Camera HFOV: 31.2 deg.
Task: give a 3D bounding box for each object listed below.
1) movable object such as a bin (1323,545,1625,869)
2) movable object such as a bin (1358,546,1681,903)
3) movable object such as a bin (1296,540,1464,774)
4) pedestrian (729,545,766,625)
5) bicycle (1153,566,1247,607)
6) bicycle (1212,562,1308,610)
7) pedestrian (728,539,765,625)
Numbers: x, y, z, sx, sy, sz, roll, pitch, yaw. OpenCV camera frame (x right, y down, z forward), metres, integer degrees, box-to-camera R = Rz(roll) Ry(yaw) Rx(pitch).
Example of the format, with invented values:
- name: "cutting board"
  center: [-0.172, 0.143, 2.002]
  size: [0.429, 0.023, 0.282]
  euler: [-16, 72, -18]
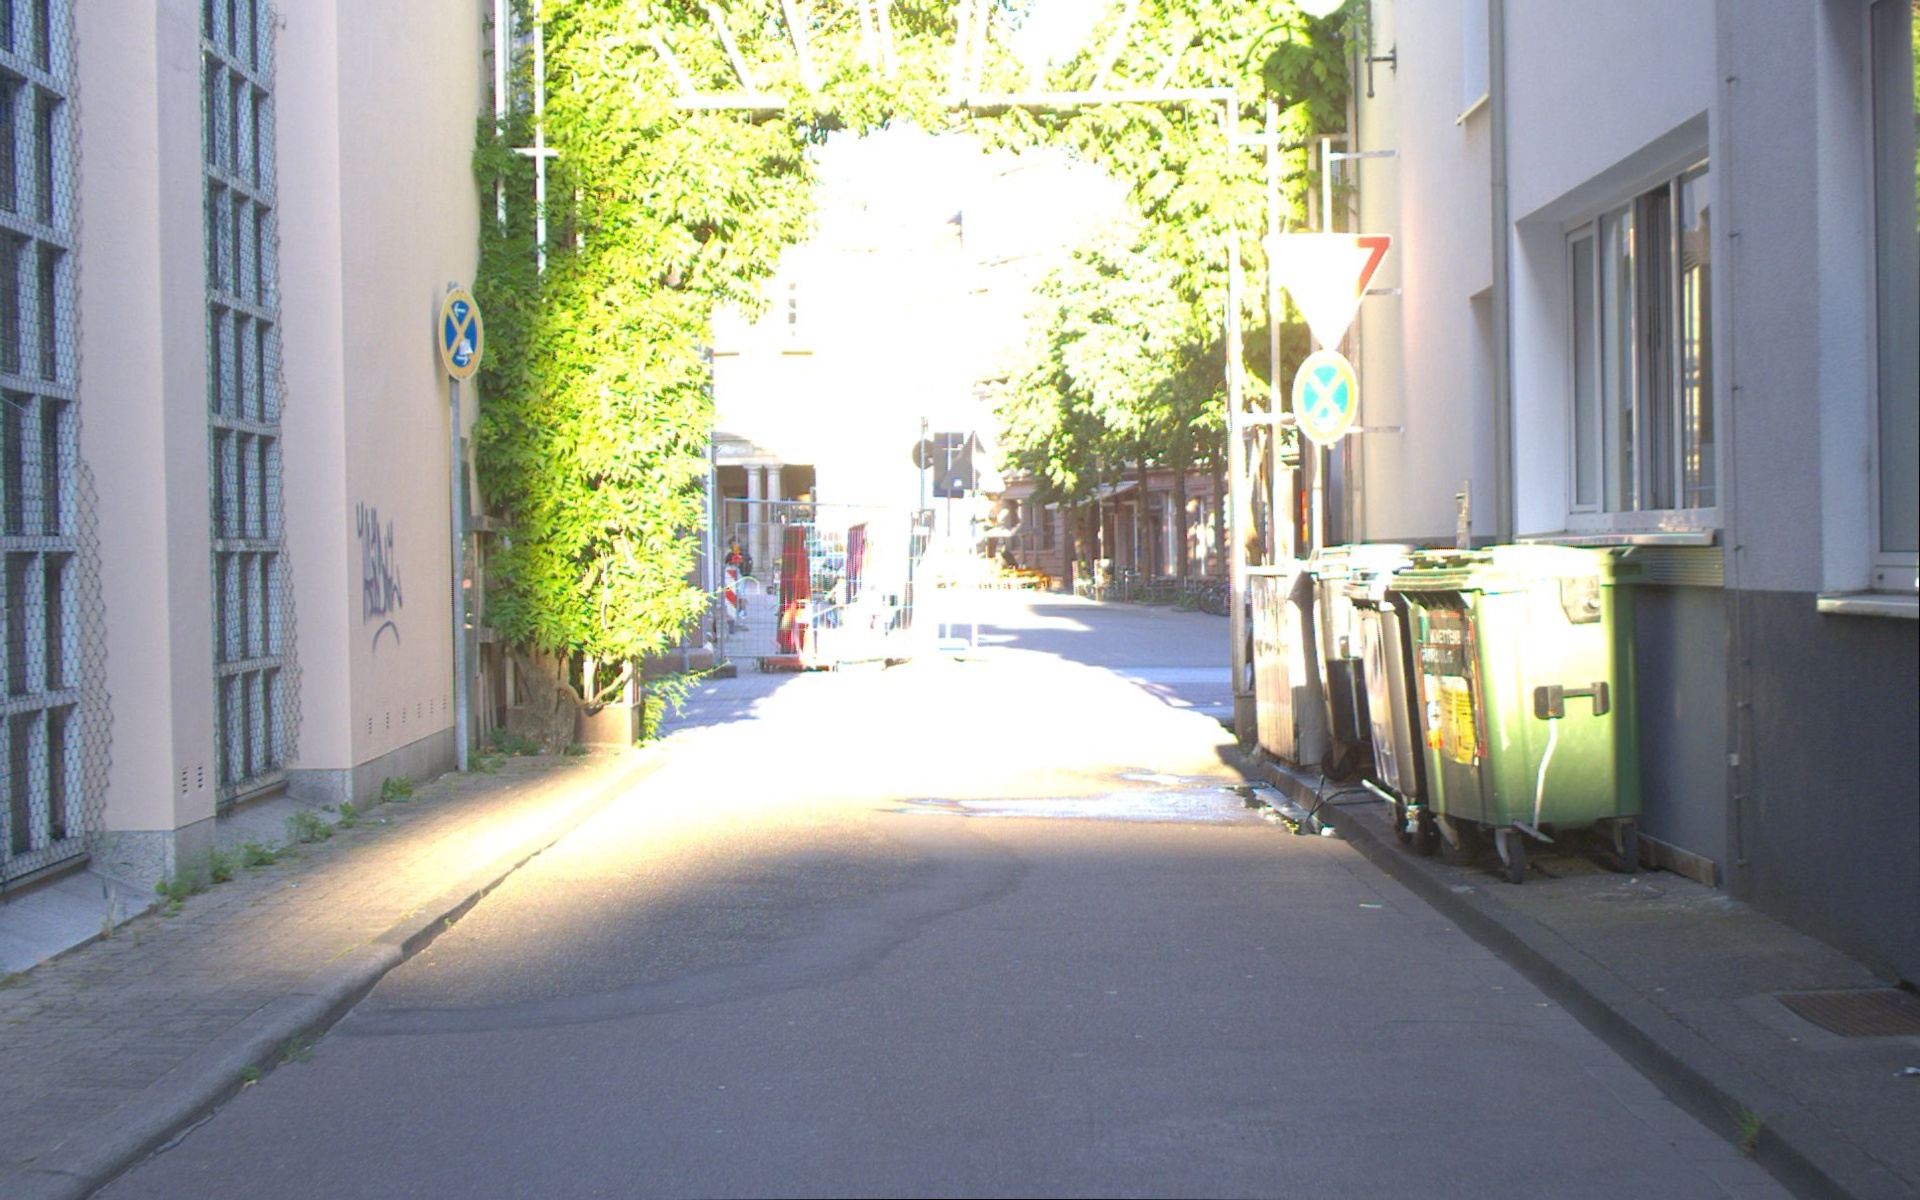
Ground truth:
- name: "movable object such as a bin"
  center: [2.324, 0.459, 15.738]
  size: [1.064, 1.362, 1.342]
  euler: [-3, 1, -2]
- name: "movable object such as a bin"
  center: [2.303, 0.486, 14.333]
  size: [0.937, 1.362, 1.342]
  euler: [-3, 1, -6]
- name: "movable object such as a bin"
  center: [2.476, 0.315, 20.387]
  size: [0.836, 1.300, 1.290]
  euler: [-3, 1, 3]
- name: "pedestrian"
  center: [-4.409, -0.311, 71.512]
  size: [0.654, 1.646, 0.634]
  euler: [-1, 0, 3]
- name: "bicycle"
  center: [5.820, -0.327, 83.397]
  size: [2.152, 0.922, 0.591]
  euler: [-2, 0, -8]
- name: "bicycle"
  center: [7.003, -0.322, 80.218]
  size: [2.154, 1.057, 0.590]
  euler: [-2, 0, 13]
- name: "pedestrian"
  center: [-4.396, -0.369, 70.862]
  size: [0.654, 1.758, 0.634]
  euler: [-1, 0, 3]
